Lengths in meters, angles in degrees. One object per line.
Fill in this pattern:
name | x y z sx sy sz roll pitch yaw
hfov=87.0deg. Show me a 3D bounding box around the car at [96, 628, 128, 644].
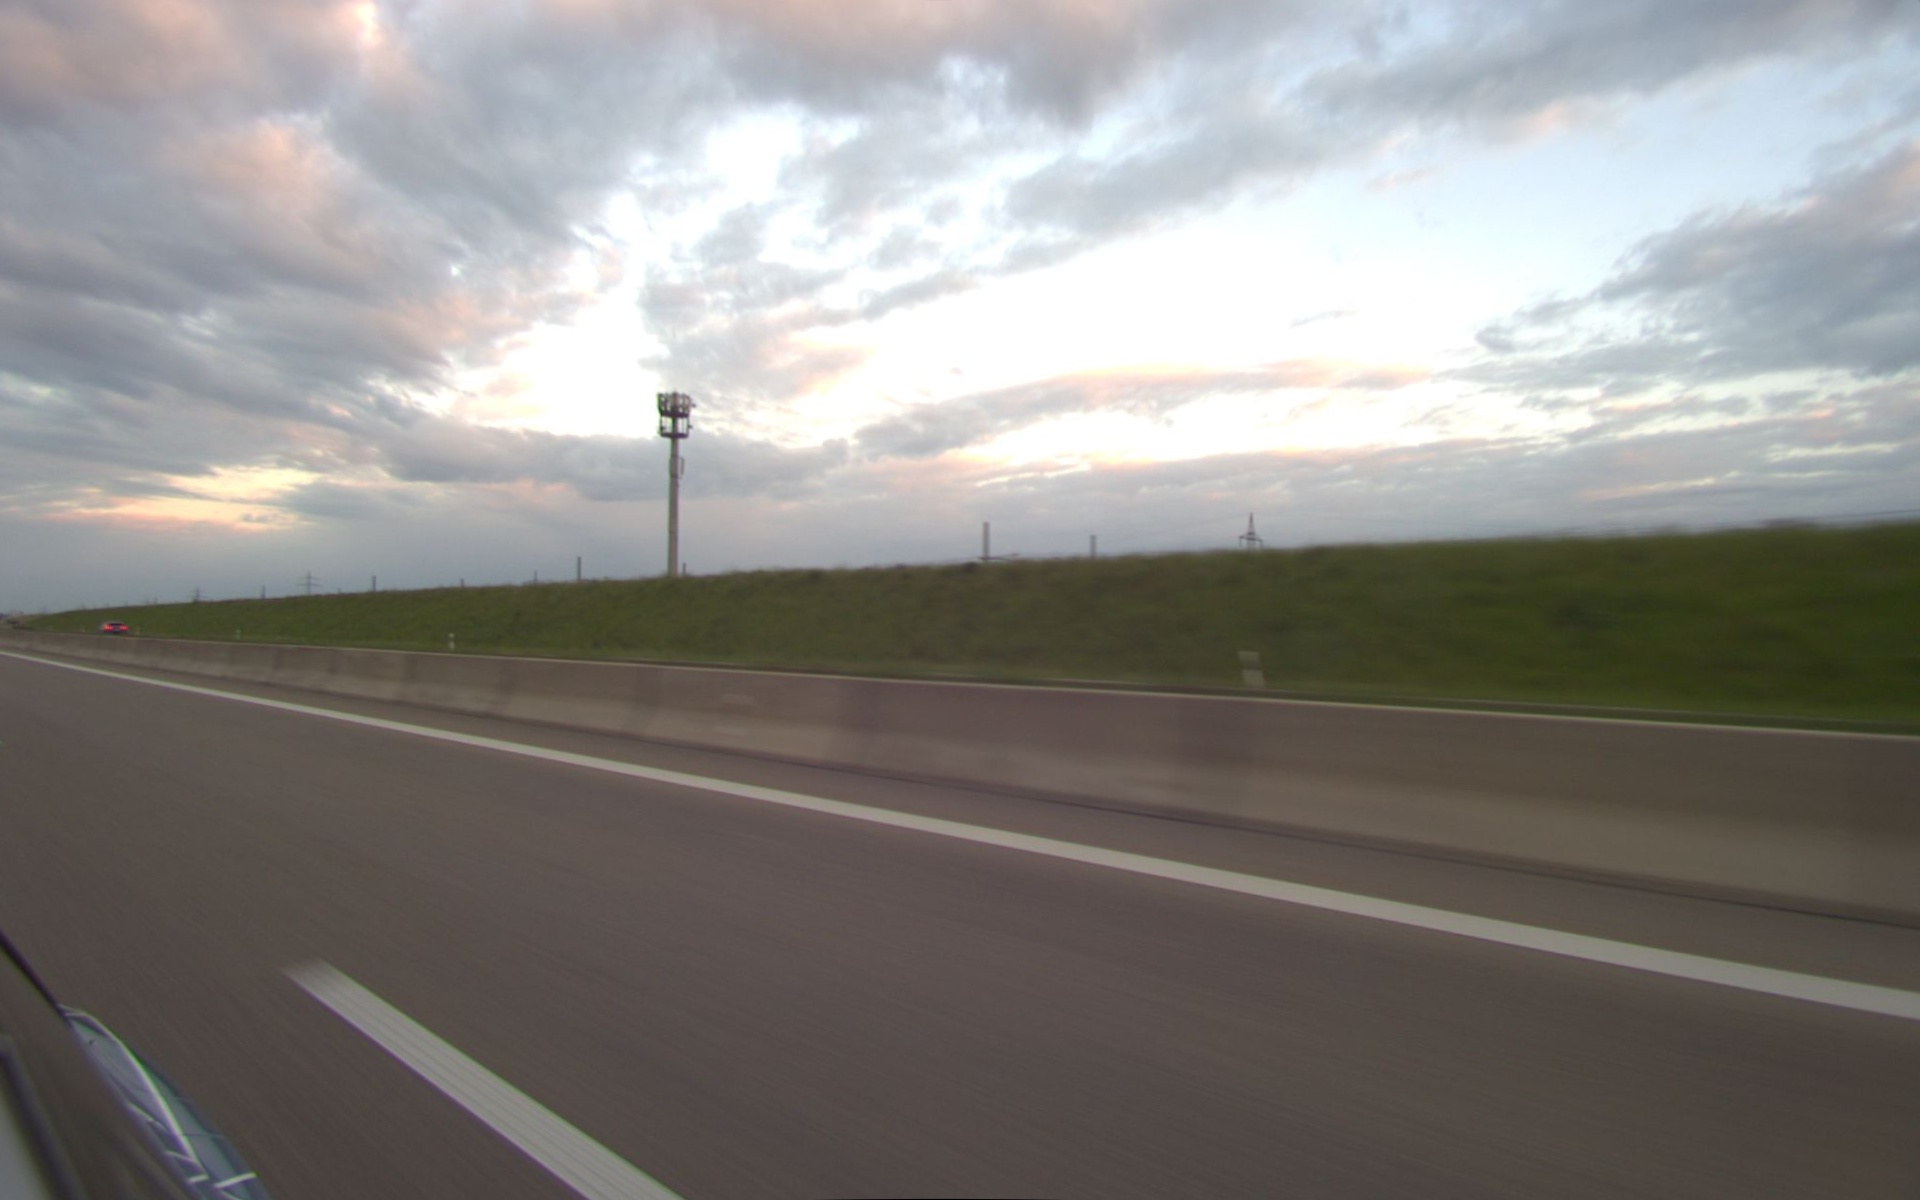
car | -85.171 3.599 101.587 4.581 1.565 1.841 -1 -2 42
